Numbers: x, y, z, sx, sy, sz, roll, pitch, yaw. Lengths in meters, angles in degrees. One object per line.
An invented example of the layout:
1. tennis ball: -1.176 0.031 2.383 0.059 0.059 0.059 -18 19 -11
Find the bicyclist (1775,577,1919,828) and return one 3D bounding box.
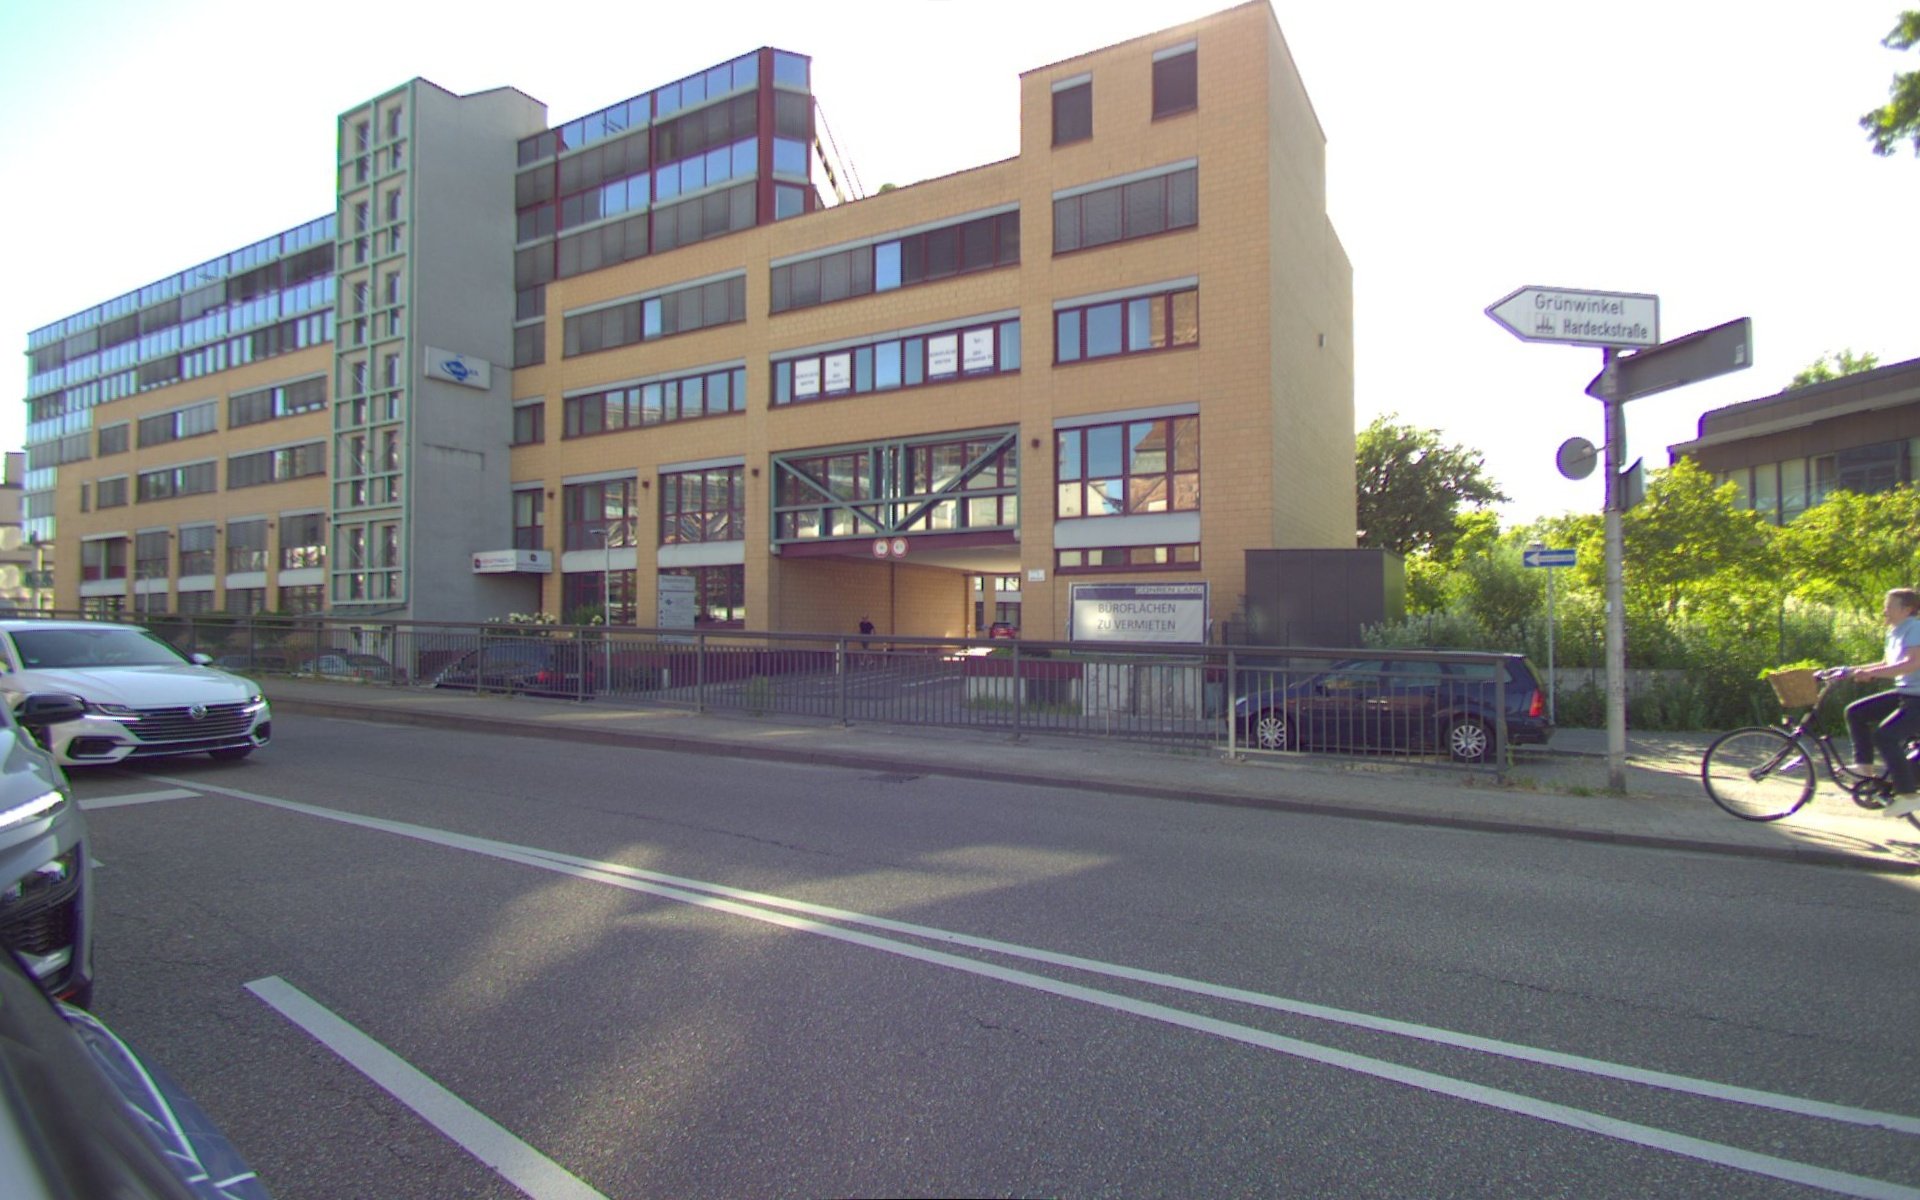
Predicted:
1. bicyclist: 6.714 0.714 7.272 1.192 1.714 0.683 1 -1 27

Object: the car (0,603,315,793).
1. car: -8.872 0.823 10.224 4.481 1.547 1.835 1 0 24

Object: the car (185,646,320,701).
1. car: -22.228 2.250 31.770 4.340 1.616 1.807 -1 -3 30

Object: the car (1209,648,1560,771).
1. car: 6.070 1.466 14.688 4.438 1.515 1.805 -2 -3 33

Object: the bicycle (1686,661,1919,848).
1. bicycle: 6.699 1.100 7.267 2.315 1.211 0.683 1 -1 27

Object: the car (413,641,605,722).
1. car: -11.141 1.928 24.936 4.667 1.771 1.938 -1 -1 29

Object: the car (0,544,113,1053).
1. car: -4.988 0.628 4.059 4.219 1.582 1.825 -1 -1 41

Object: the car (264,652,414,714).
1. car: -17.729 2.310 28.857 4.340 1.616 1.807 -1 -3 30

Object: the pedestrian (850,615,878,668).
1. pedestrian: -3.406 1.491 36.092 0.676 1.858 0.779 -2 -3 28

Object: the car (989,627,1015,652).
1. car: 2.761 2.599 66.725 1.621 1.586 3.150 -1 -2 2
